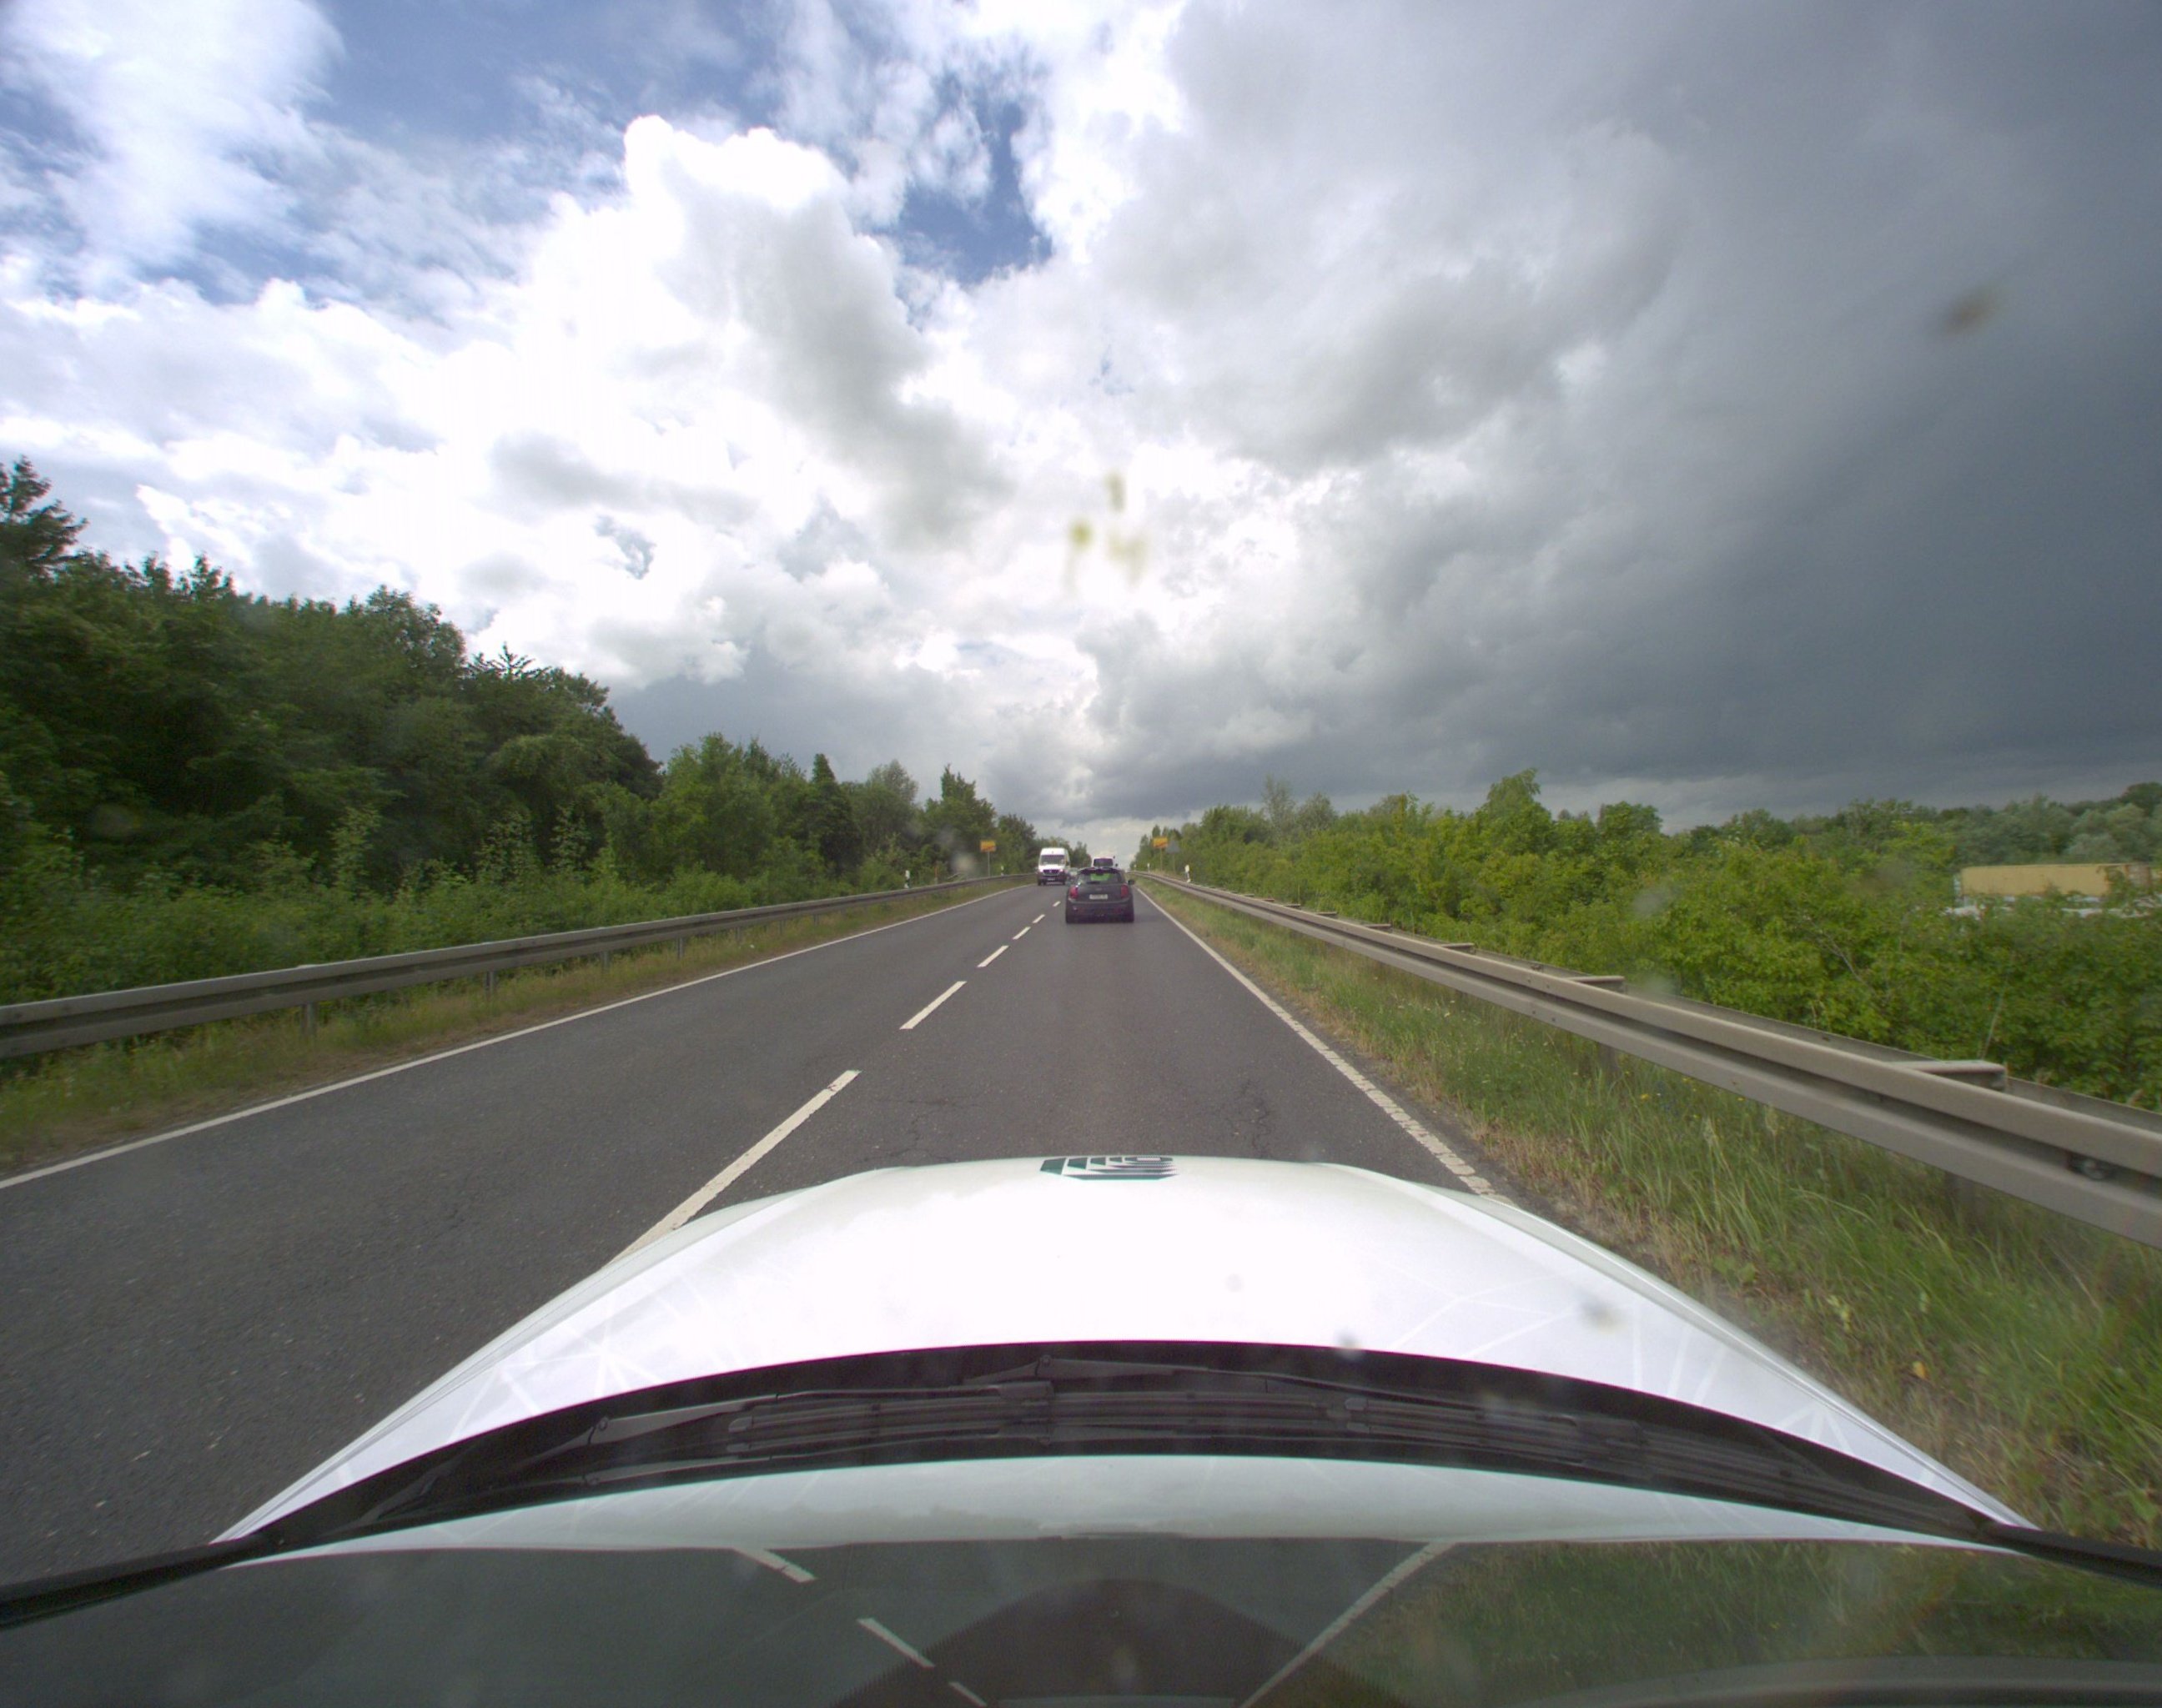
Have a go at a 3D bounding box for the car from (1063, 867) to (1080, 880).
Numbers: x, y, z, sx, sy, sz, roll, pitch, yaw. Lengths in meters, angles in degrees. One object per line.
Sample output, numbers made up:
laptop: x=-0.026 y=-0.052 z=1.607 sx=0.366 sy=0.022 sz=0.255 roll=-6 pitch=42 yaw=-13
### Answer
car: x=-1.100 y=2.403 z=100.805 sx=1.828 sy=1.445 sz=4.003 roll=-1 pitch=-1 yaw=3

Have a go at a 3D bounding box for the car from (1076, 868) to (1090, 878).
car: x=0.282 y=2.765 z=119.252 sx=1.828 sy=1.420 sz=4.001 roll=-1 pitch=-2 yaw=2

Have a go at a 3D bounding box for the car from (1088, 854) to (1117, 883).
car: x=1.541 y=1.025 z=59.212 sx=2.015 sy=2.013 sz=3.999 roll=-2 pitch=-1 yaw=0

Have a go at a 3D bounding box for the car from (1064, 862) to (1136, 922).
car: x=0.515 y=0.957 z=21.975 sx=1.726 sy=1.456 sz=4.001 roll=-1 pitch=-1 yaw=1

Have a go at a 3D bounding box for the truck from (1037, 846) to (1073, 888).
truck: x=-1.782 y=0.875 z=58.070 sx=2.057 sy=2.742 sz=7.009 roll=-1 pitch=0 yaw=2
